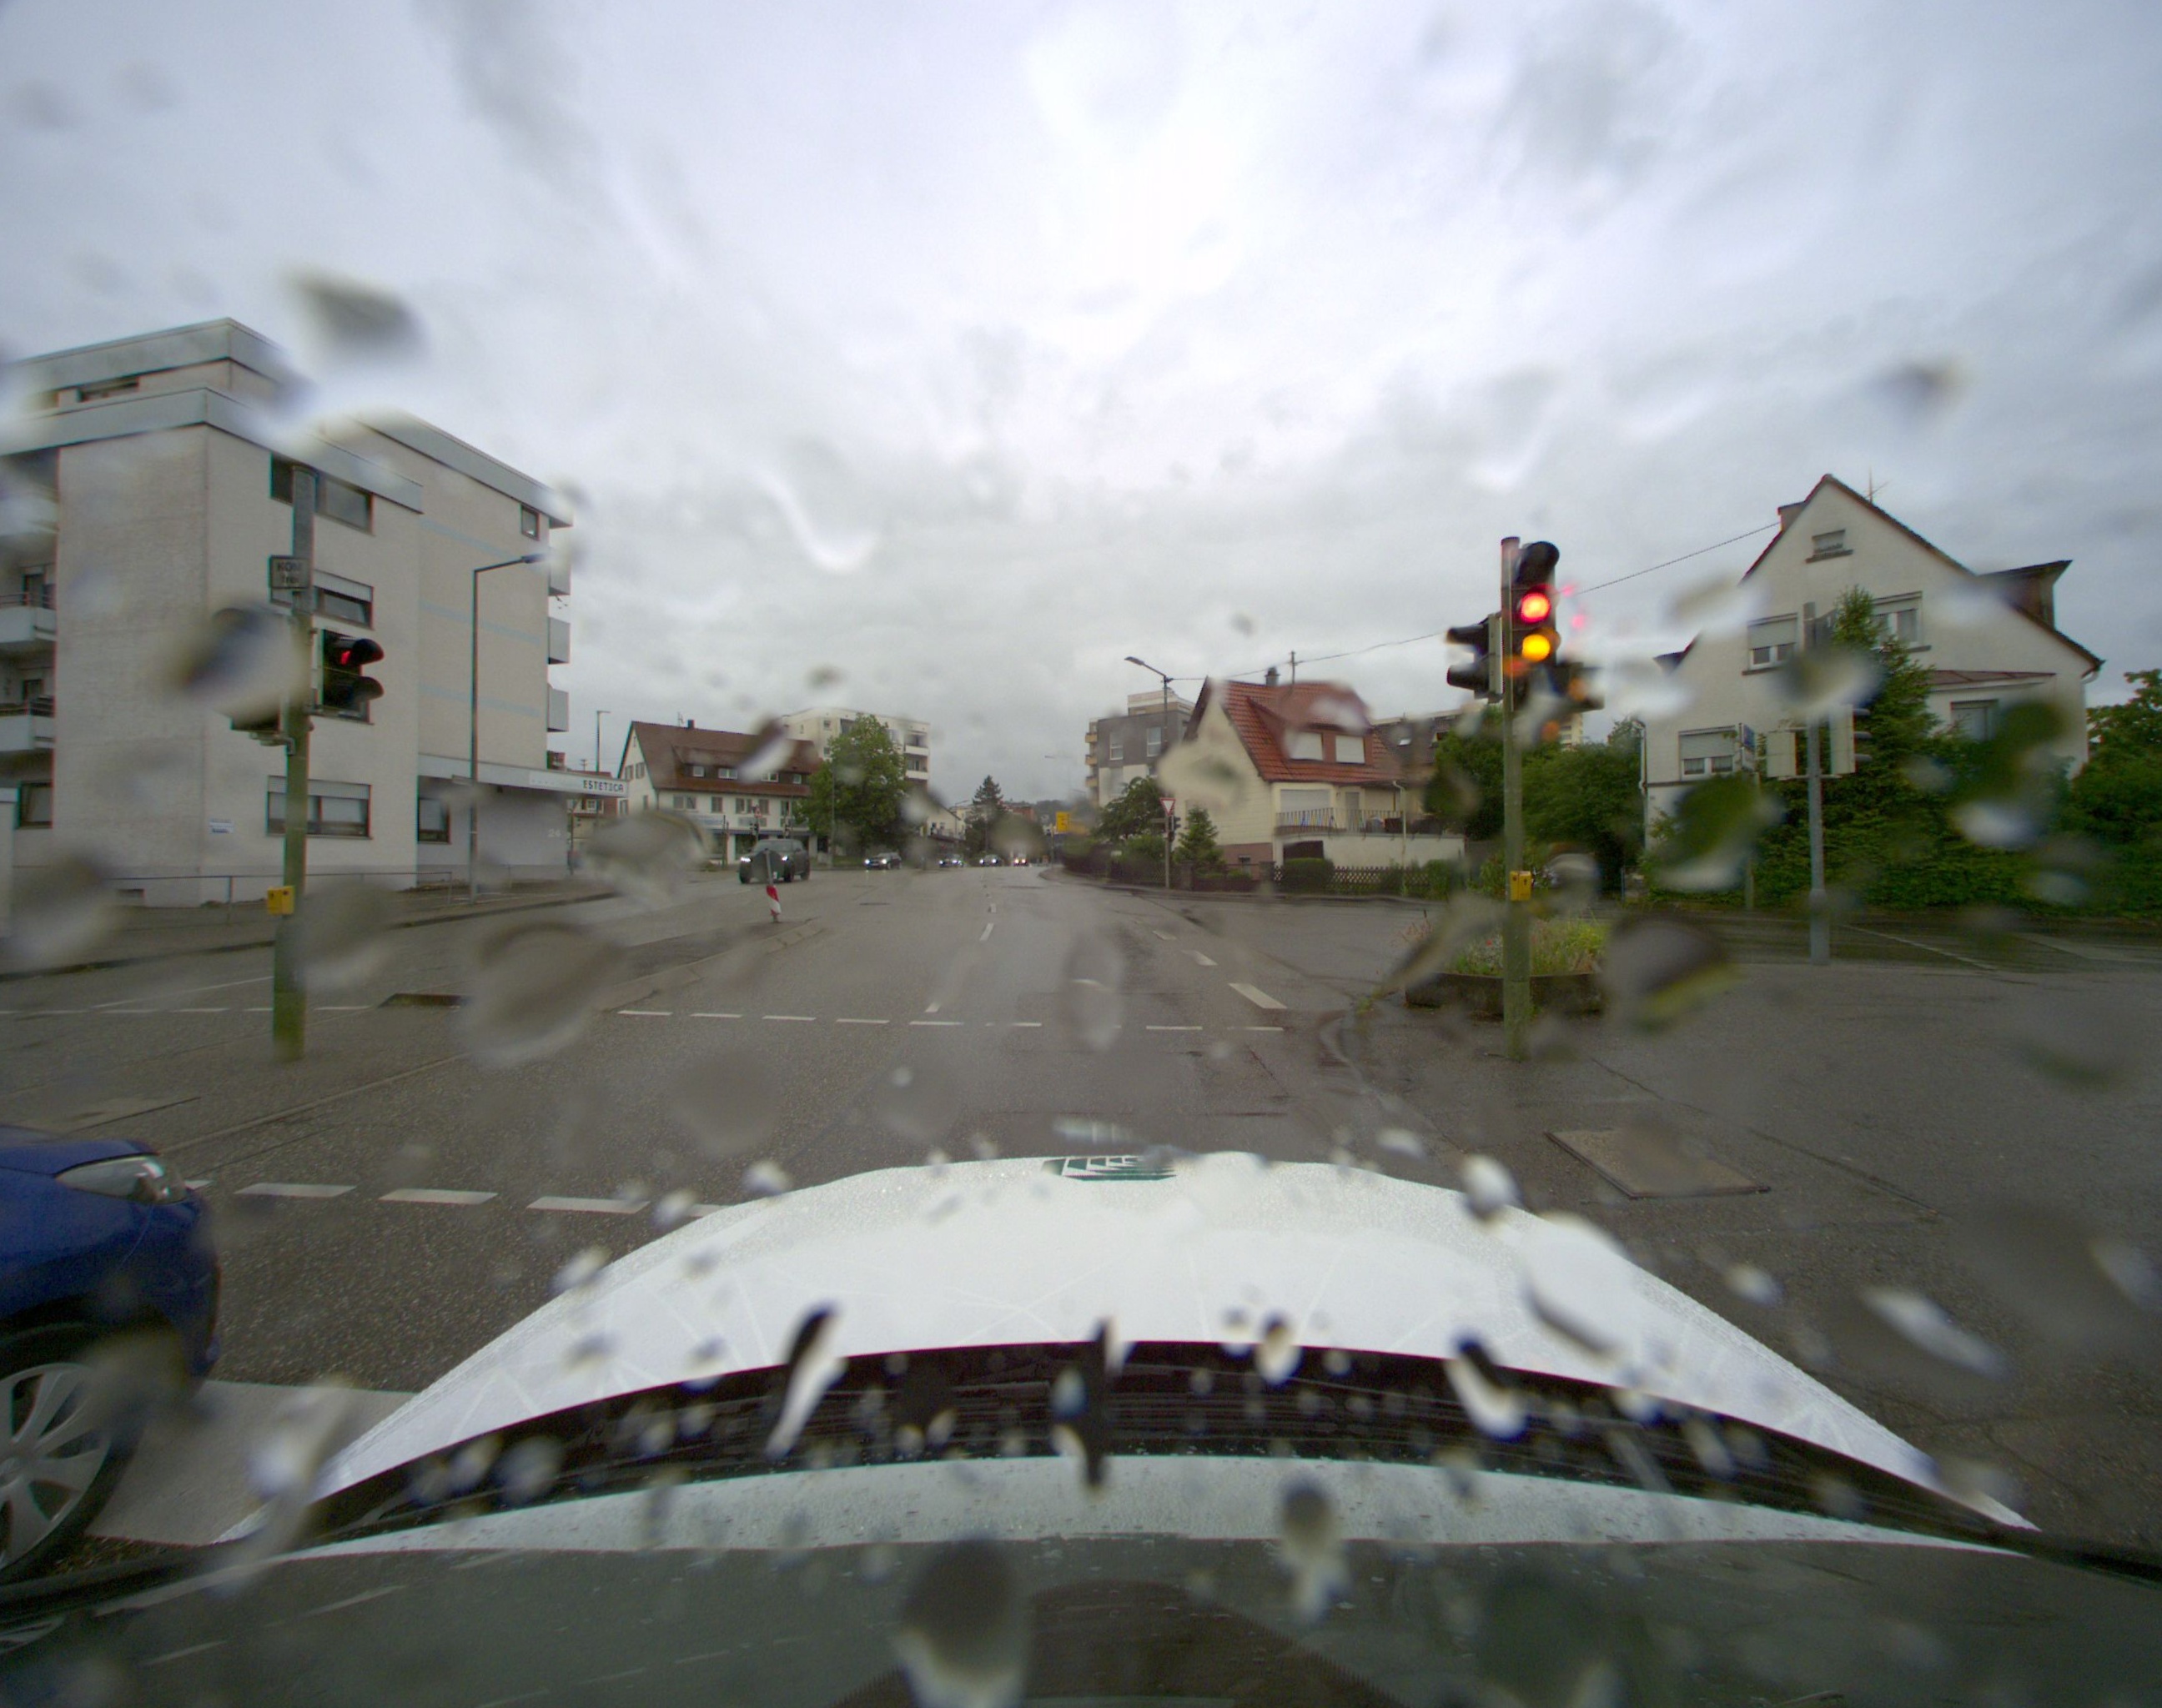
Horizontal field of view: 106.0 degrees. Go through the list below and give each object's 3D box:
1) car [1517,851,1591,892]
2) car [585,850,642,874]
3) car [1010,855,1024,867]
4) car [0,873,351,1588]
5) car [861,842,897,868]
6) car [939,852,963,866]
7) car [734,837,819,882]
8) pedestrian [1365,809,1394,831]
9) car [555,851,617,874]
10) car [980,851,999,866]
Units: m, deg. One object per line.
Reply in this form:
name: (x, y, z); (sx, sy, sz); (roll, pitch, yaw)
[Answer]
car: (17.111, 0.588, 29.367); (1.794, 1.362, 4.025); (-1, -1, 37)
car: (-38.441, 0.629, 66.976); (3.706, 1.920, 1.864); (0, -1, -44)
car: (-10.156, 1.125, 128.998); (1.989, 1.812, 3.996); (0, -1, -3)
car: (-2.953, 0.776, 0.722); (1.499, 1.413, 3.365); (0, 0, 2)
car: (-15.676, 0.079, 63.354); (1.989, 1.904, 3.996); (0, -1, -3)
car: (-13.412, 0.524, 84.141); (1.989, 1.463, 3.996); (0, 0, -3)
car: (-12.878, 0.237, 34.813); (1.990, 1.737, 5.173); (0, 0, -4)
pedestrian: (12.770, -1.443, 34.852); (0.918, 0.883, 0.632); (0, -3, -18)
car: (-41.215, 0.669, 67.799); (4.093, 1.843, 1.864); (0, -1, -44)
car: (-10.765, 0.518, 95.823); (1.989, 1.679, 3.996); (0, -1, -3)
